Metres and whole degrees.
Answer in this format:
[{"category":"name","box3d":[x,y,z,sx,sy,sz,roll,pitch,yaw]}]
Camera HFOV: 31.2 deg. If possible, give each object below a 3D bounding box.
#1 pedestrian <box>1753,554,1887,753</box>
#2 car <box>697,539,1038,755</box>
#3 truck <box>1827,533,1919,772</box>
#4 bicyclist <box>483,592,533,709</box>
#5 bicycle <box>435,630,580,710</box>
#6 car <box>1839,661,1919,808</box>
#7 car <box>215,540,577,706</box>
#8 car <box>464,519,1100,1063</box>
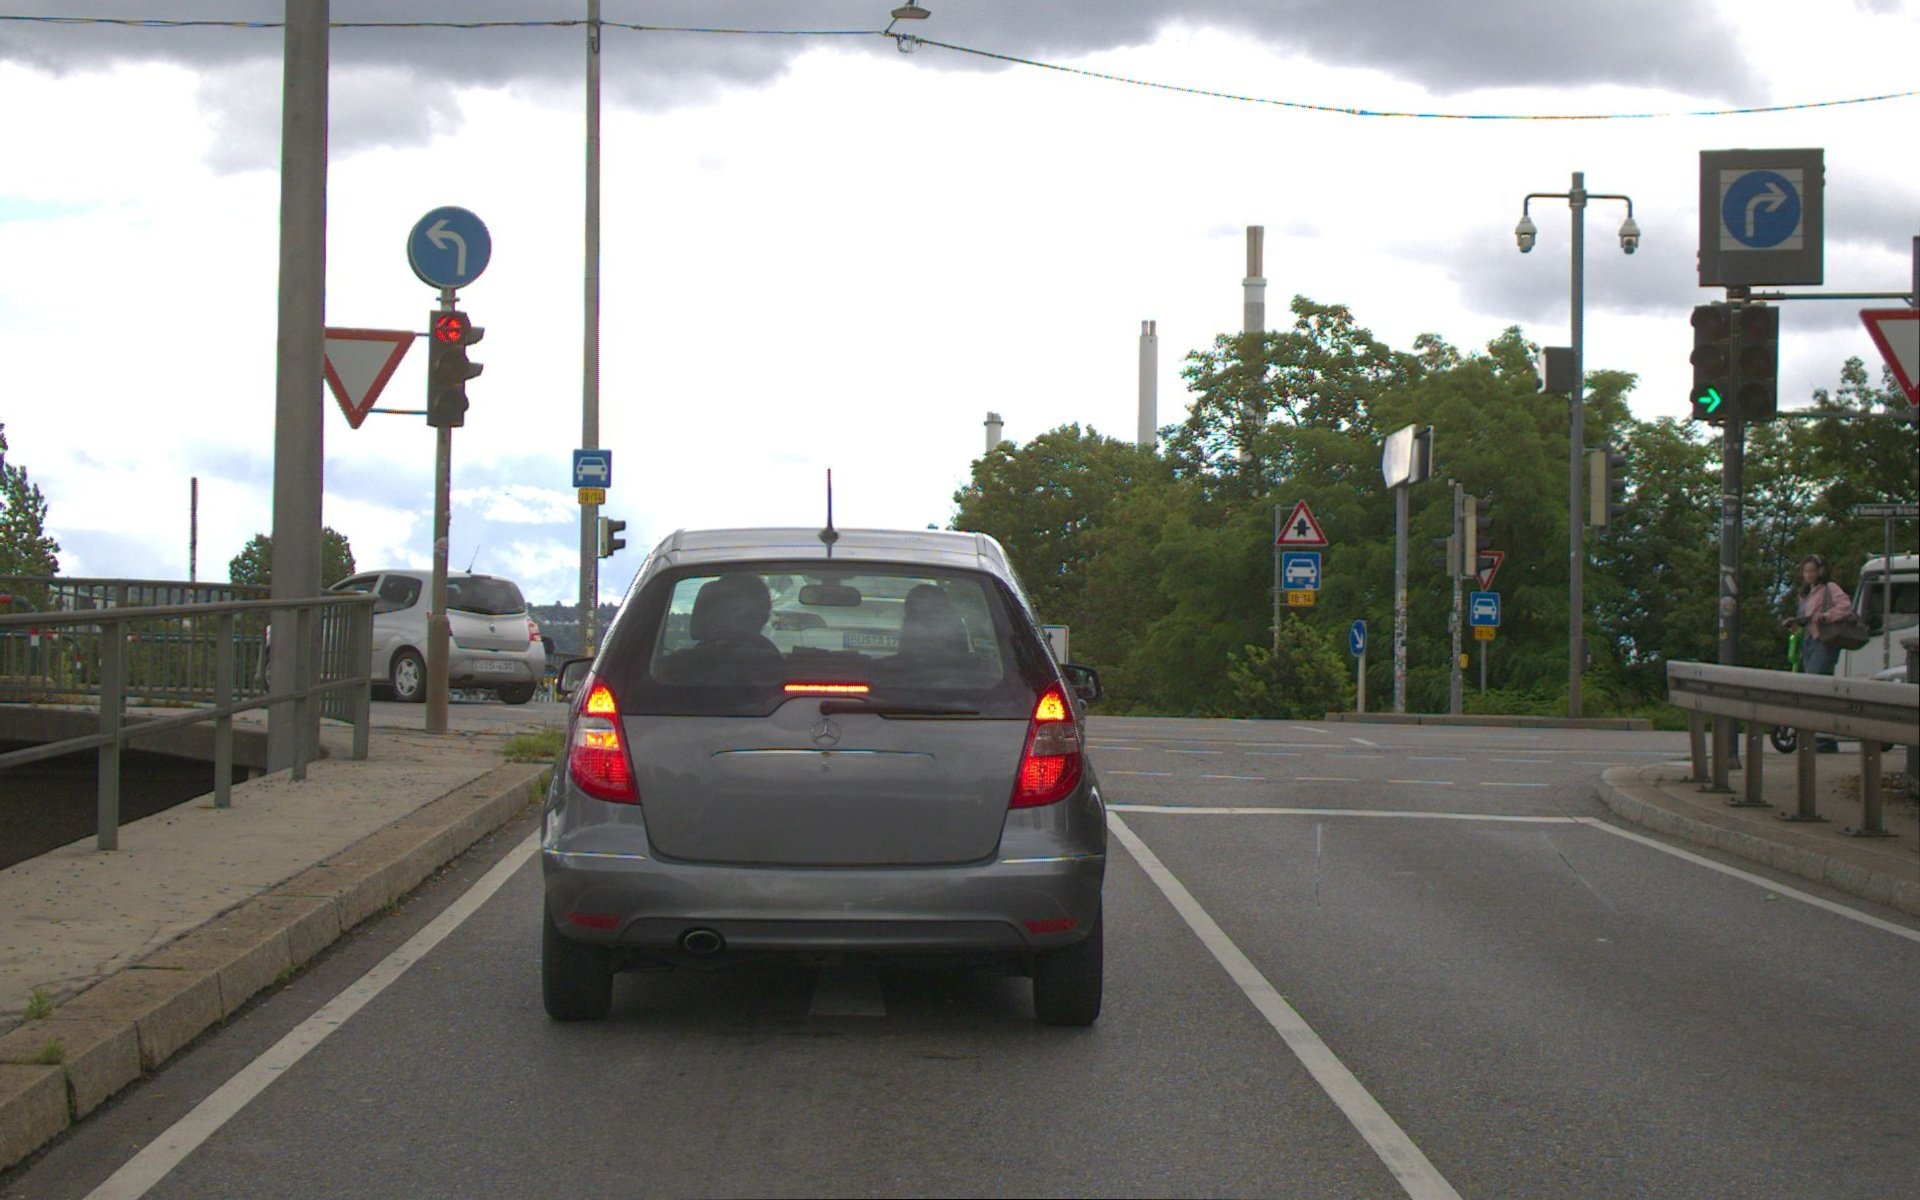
[{"category":"pedestrian","box3d":[7.342,0.465,29.394,0.832,1.672,0.979,0,-2,-4]},{"category":"car","box3d":[-0.895,0.342,29.804,1.930,1.711,4.407,0,1,-16]},{"category":"truck","box3d":[18.100,0.812,50.078,10.229,3.506,2.794,1,1,27]},{"category":"bicyclist","box3d":[-6.589,0.728,50.102,0.653,1.668,0.870,0,1,-11]},{"category":"bicycle","box3d":[-6.602,1.012,50.092,2.032,1.121,0.929,0,1,-12]},{"category":"car","box3d":[12.810,1.617,41.400,3.987,1.659,1.813,0,1,2]},{"category":"car","box3d":[-6.294,0.211,38.145,3.997,1.711,1.932,1,1,44]},{"category":"car","box3d":[-0.490,0.516,12.097,1.858,1.583,4.000,1,1,1]}]
